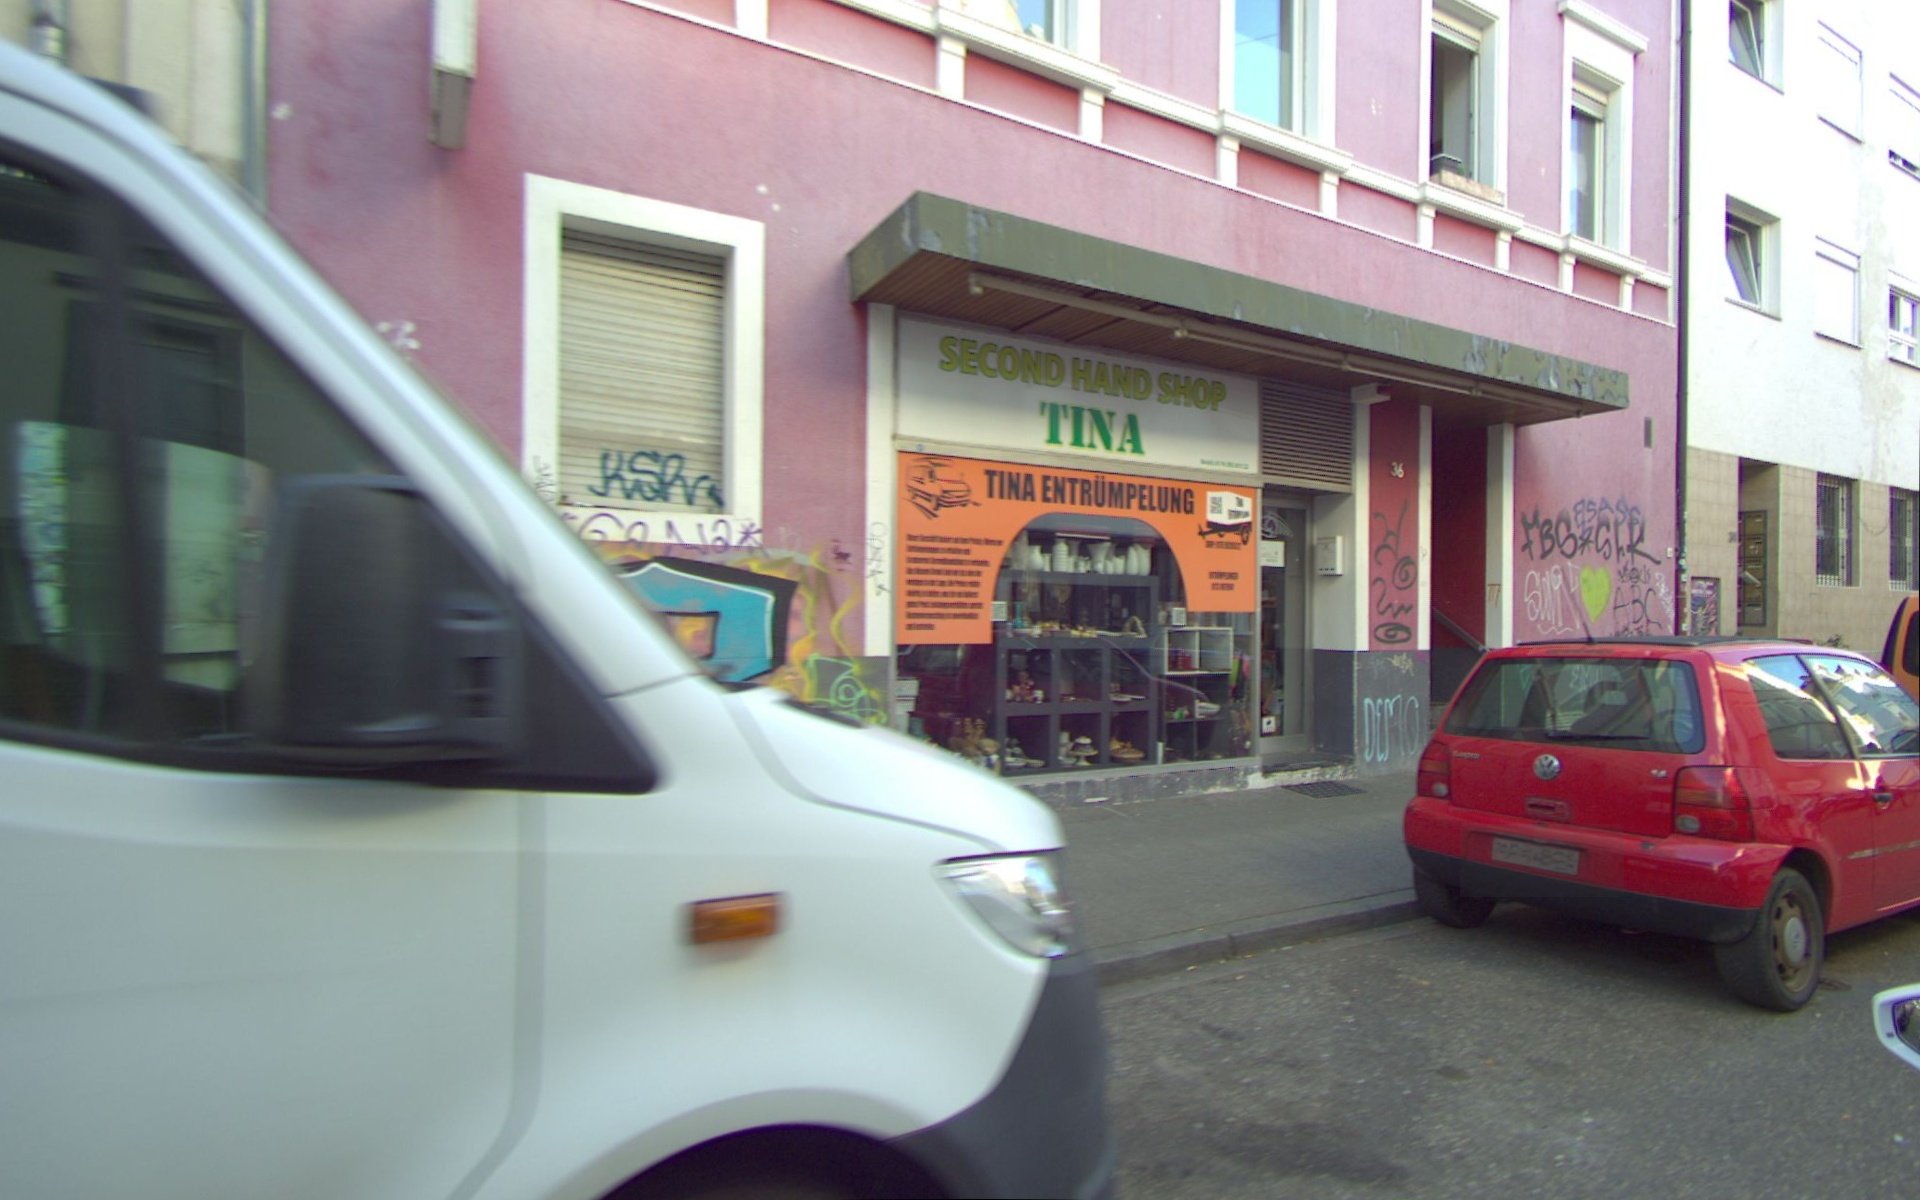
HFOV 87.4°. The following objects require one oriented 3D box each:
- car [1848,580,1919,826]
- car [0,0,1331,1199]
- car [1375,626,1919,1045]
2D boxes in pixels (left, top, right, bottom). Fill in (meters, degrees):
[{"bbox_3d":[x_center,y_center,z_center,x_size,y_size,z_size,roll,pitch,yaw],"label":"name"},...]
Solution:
[{"bbox_3d":[9.167,0.806,8.181,4.032,1.840,1.744,2,-3,-31],"label":"car"},{"bbox_3d":[-2.964,-0.148,1.088,7.069,3.334,2.333,2,-3,-30],"label":"car"},{"bbox_3d":[3.977,0.926,5.223,3.524,1.503,1.571,2,-3,-31],"label":"car"}]
